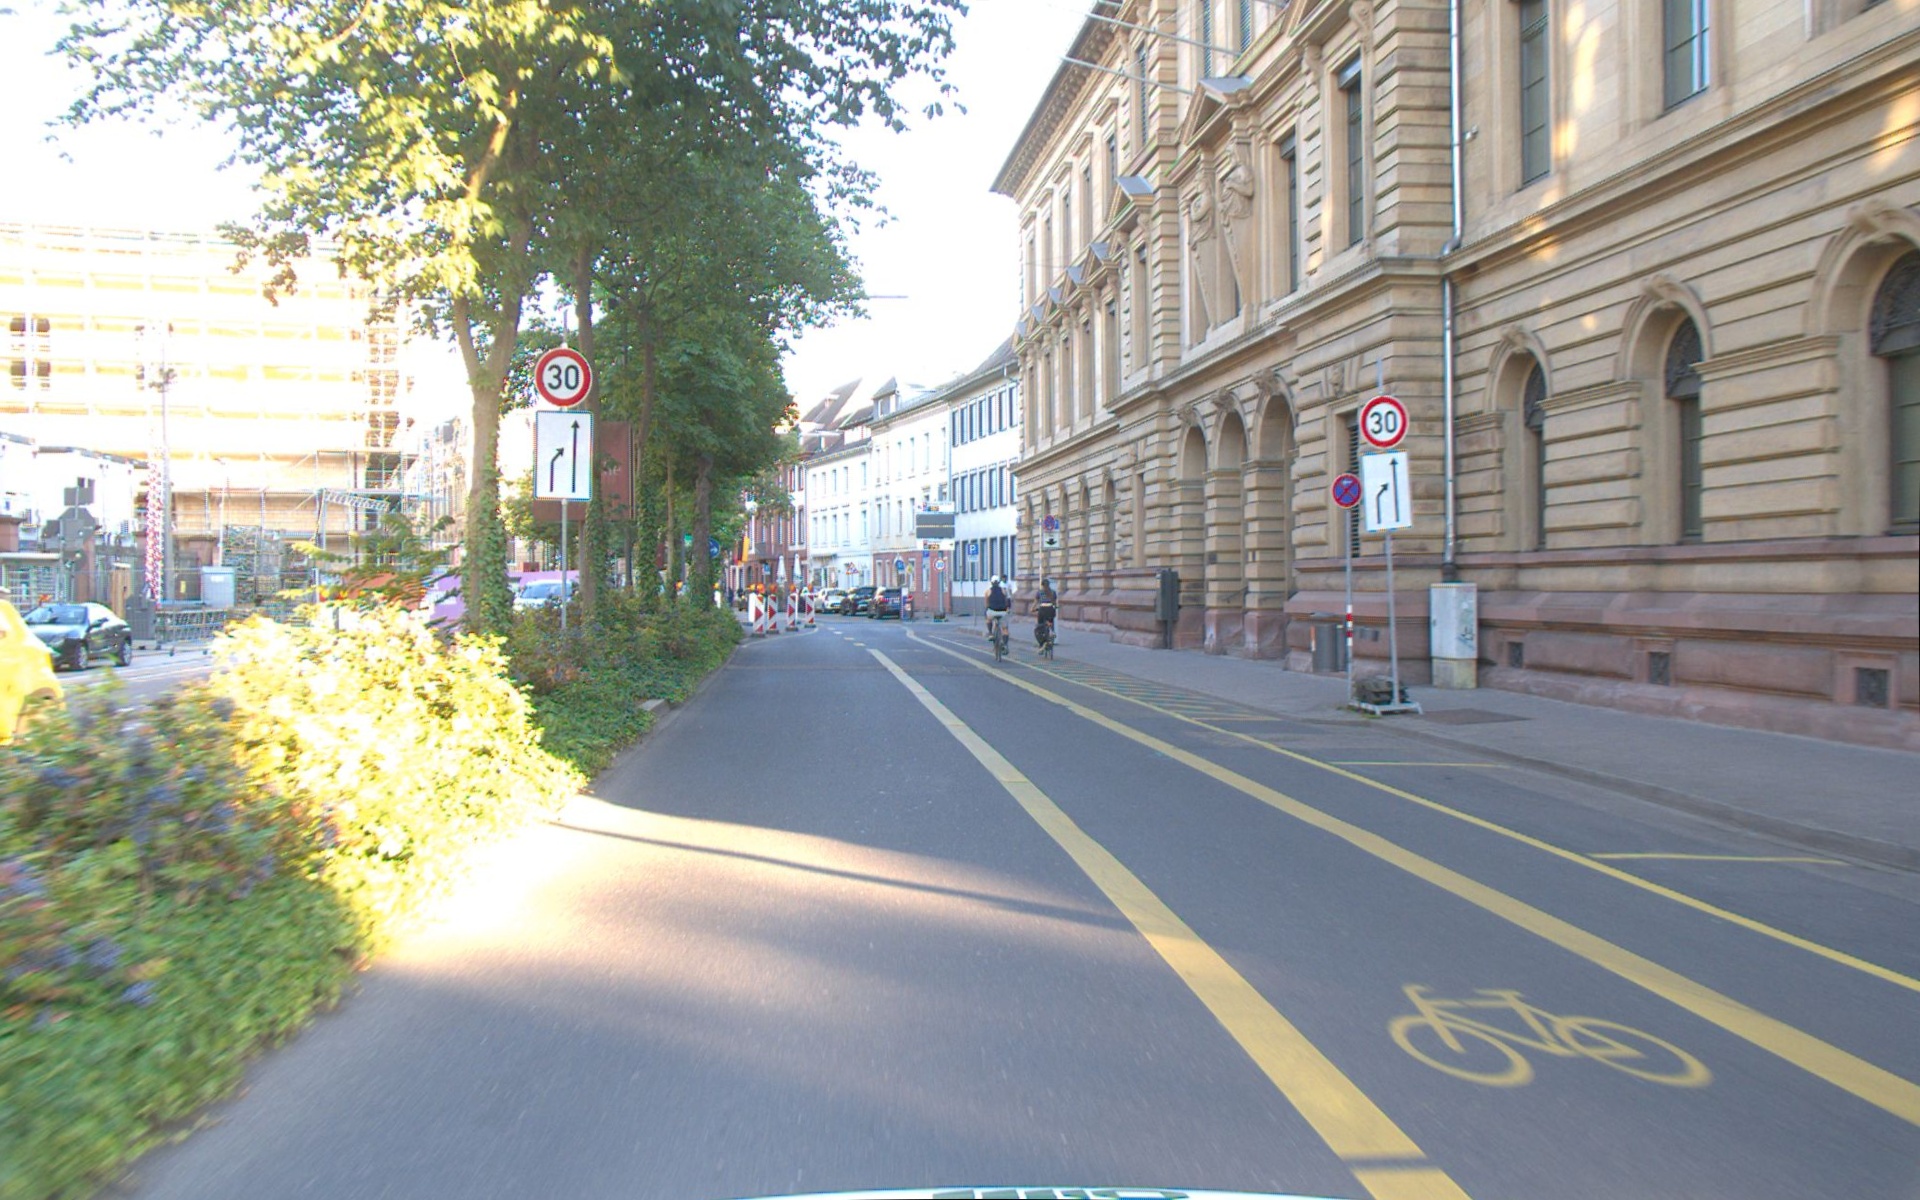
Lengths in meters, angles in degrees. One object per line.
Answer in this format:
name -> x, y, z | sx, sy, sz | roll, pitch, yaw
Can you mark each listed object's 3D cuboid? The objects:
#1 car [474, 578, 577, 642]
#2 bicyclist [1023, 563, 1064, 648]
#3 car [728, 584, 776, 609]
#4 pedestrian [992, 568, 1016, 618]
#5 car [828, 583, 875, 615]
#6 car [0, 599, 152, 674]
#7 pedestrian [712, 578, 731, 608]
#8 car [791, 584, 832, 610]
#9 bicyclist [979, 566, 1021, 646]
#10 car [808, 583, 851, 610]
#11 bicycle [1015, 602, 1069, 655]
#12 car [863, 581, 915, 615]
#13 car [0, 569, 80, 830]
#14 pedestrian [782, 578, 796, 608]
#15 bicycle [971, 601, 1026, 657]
car -> -12.518, 0.248, 47.962 | 1.805, 1.703, 4.555 | -2, 1, -1
bicyclist -> 1.793, 0.116, 35.587 | 0.638, 1.791, 0.862 | 1, 0, -11
car -> -13.298, -0.243, 105.498 | 1.792, 1.587, 3.829 | 0, 0, -28
pedestrian -> 1.599, -0.269, 60.788 | 0.800, 1.796, 1.037 | 1, 1, -2
car -> -6.062, -0.073, 92.183 | 1.783, 1.713, 3.981 | 0, 0, -17
car -> -18.311, 0.719, 34.077 | 1.647, 1.374, 3.883 | -2, 1, -5
pedestrian -> -13.753, -0.422, 95.330 | 0.720, 1.703, 0.895 | 0, 0, 21
car -> -9.375, -0.205, 104.492 | 1.784, 1.587, 3.845 | 0, 0, -18
bicyclist -> 0.819, 0.121, 34.015 | 0.657, 1.593, 0.696 | 2, 0, -13
car -> -7.923, -0.232, 100.084 | 1.784, 1.587, 3.845 | 0, 0, -18
bicycle -> 1.760, 0.603, 35.760 | 0.641, 1.089, 2.252 | 2, 0, -11
car -> -3.648, -0.104, 84.639 | 1.783, 1.712, 3.901 | 0, 0, -17
car -> -6.575, 0.624, 9.089 | 1.811, 1.574, 4.109 | -1, 1, -10
pedestrian -> -10.782, -0.427, 104.251 | 0.814, 1.876, 0.957 | 1, 1, -2
bicycle -> 0.786, 0.581, 34.089 | 0.658, 1.089, 1.894 | 1, 0, -13
